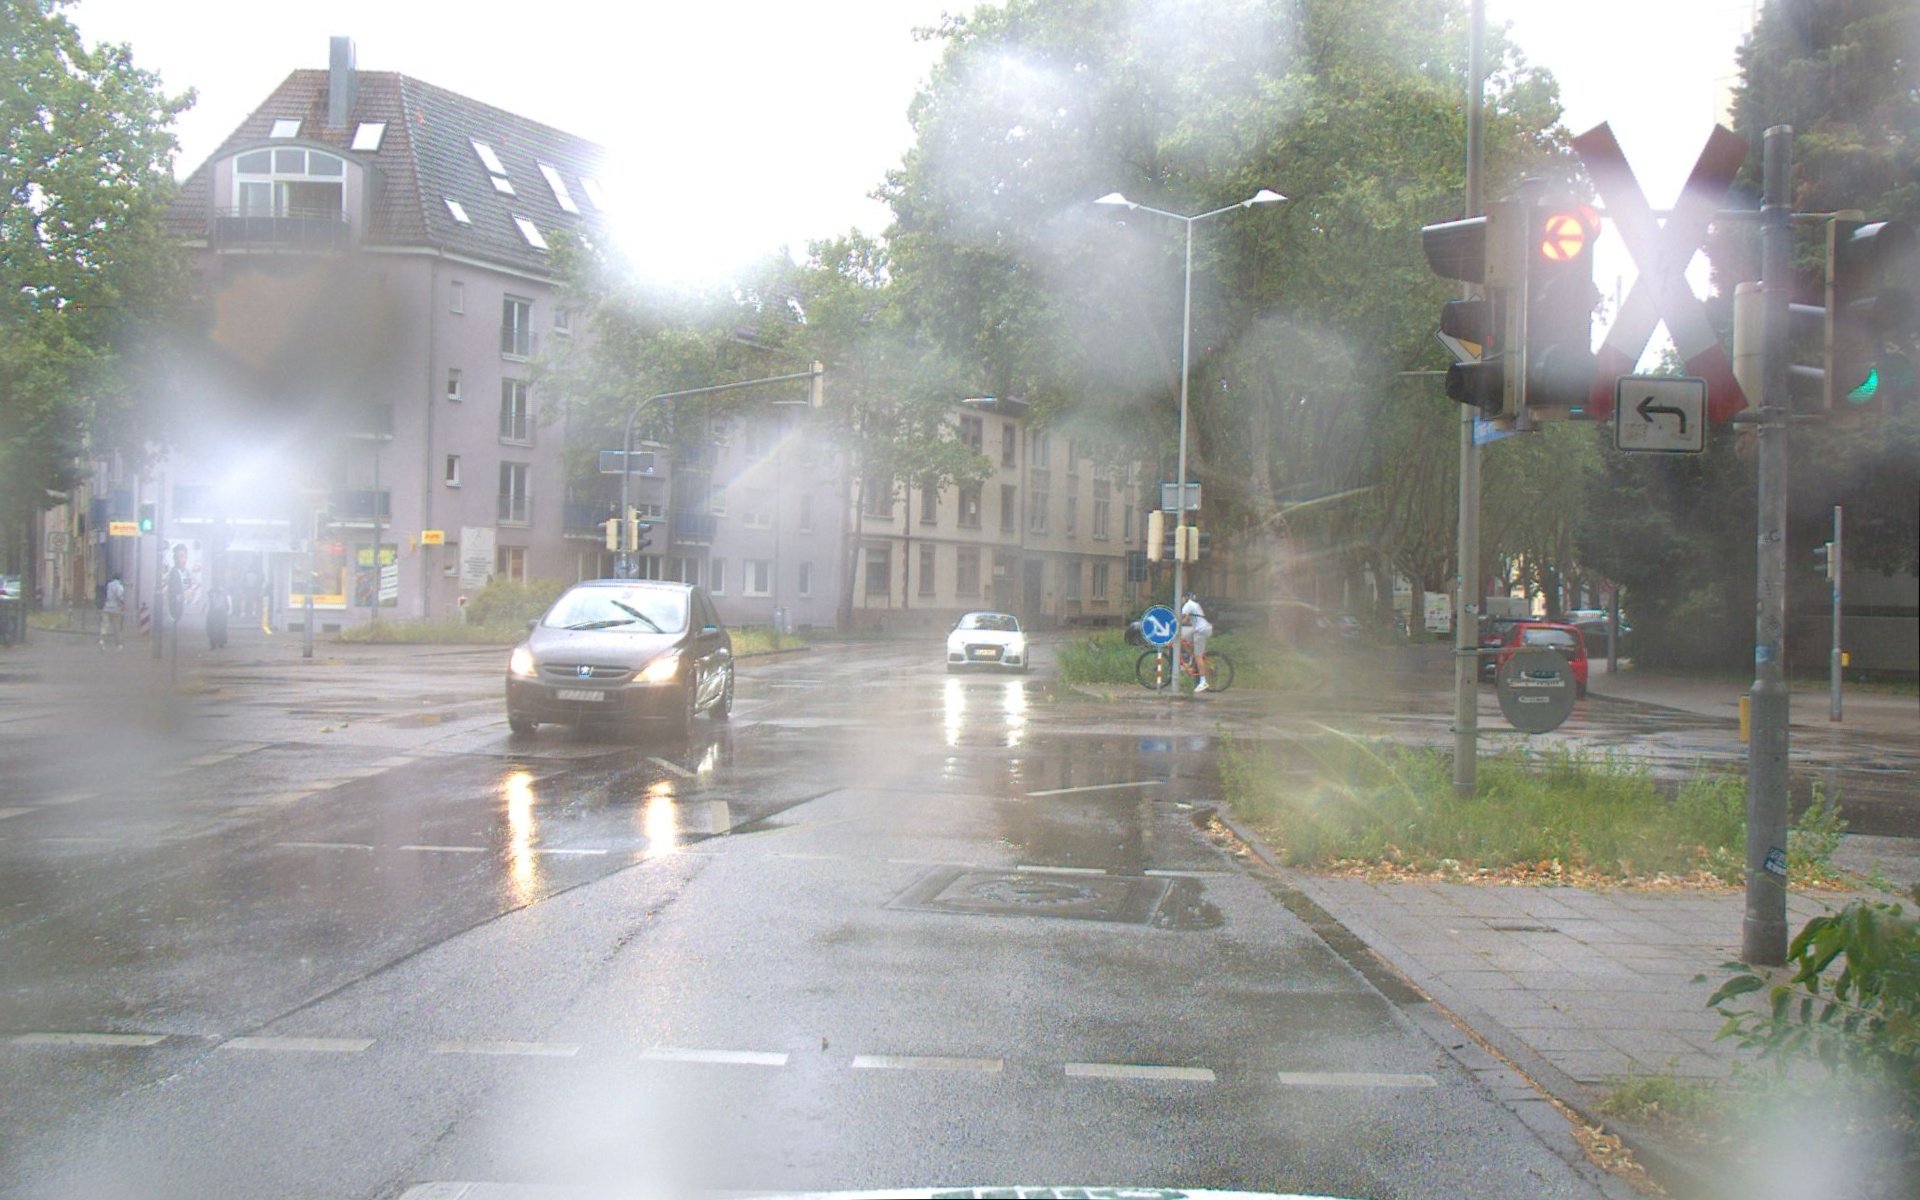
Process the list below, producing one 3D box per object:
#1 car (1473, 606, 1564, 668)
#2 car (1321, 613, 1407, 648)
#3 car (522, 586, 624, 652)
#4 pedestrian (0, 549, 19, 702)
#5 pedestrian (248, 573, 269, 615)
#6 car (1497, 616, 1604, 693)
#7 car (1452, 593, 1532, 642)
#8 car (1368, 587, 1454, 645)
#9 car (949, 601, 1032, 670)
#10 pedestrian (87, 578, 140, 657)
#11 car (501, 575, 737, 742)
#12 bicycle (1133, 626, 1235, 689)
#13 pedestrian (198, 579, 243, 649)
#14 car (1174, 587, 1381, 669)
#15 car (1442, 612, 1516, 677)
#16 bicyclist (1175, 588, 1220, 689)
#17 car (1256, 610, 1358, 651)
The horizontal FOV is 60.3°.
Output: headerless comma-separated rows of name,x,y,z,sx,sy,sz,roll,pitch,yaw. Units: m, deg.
car,13.897,0.876,41.306,1.745,1.371,3.932,2,1,13
car,19.262,1.440,78.926,3.902,1.574,2.002,1,0,12
car,-9.625,0.445,41.344,1.716,1.538,3.838,1,0,-2
pedestrian,-12.235,0.305,20.614,0.777,1.888,0.676,1,0,-25
pedestrian,-22.940,-0.205,54.121,0.550,1.353,0.443,1,-1,-16
car,13.052,1.161,36.736,1.754,1.524,4.003,1,0,13
car,33.670,1.083,104.813,1.974,2.999,4.720,1,0,-31
car,23.954,0.846,88.069,2.005,2.999,4.742,1,0,-21
car,0.730,0.796,39.132,1.845,1.461,4.001,1,0,1
pedestrian,-17.870,0.362,34.927,0.660,1.628,0.966,1,0,-7
car,-3.329,0.535,16.792,1.679,1.485,3.747,1,0,-1
bicycle,4.113,1.049,30.445,1.833,1.100,0.657,1,0,7
pedestrian,-16.715,0.313,37.395,0.736,1.560,0.789,1,-1,-12
car,6.286,0.534,32.792,3.902,1.512,2.002,1,0,12
car,14.989,1.252,47.909,1.745,1.757,4.003,1,0,13
bicyclist,4.362,0.694,30.419,0.778,1.817,0.697,1,-1,7
car,13.753,1.186,65.641,3.902,1.512,2.002,1,0,12
